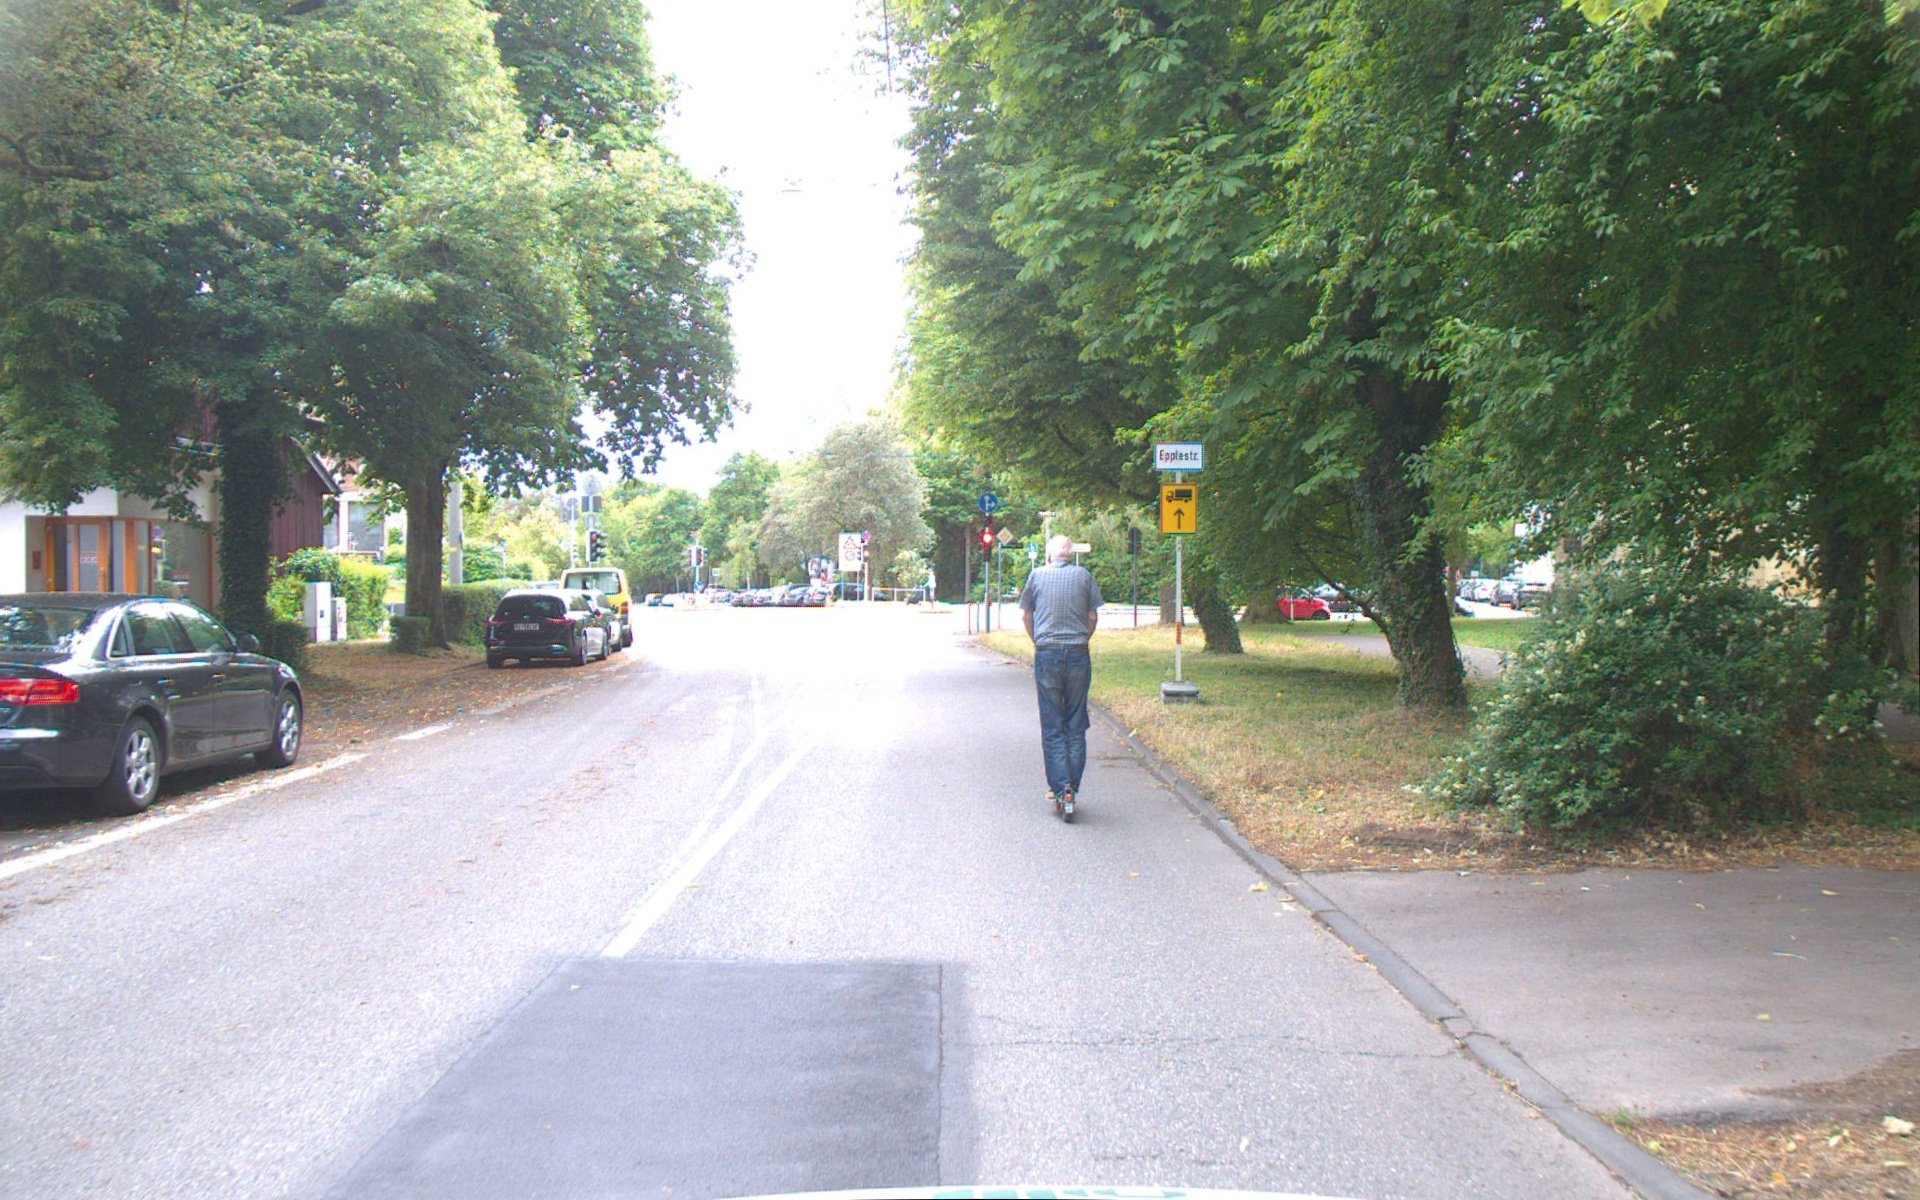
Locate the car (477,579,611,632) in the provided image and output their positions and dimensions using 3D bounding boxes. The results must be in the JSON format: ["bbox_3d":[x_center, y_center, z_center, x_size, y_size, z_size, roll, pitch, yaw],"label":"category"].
[{"bbox_3d":[-12.843,0.146,51.263,3.915,1.536,1.796,0,2,-11],"label":"car"}]

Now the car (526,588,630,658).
[{"bbox_3d":[-8.627,0.478,37.621,1.759,1.440,4.184,-1,1,-6],"label":"car"}]

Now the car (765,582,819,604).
[{"bbox_3d":[-12.597,-0.523,124.008,3.912,1.536,1.797,-1,1,-8],"label":"car"}]

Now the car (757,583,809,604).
[{"bbox_3d":[-13.473,-0.523,125.832,3.912,1.536,1.797,-1,1,-8],"label":"car"}]

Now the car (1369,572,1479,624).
[{"bbox_3d":[17.731,-0.093,63.178,3.905,1.756,1.801,2,4,20],"label":"car"}]

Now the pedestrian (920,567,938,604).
[{"bbox_3d":[-1.531,-0.717,80.890,0.716,1.792,0.662,-1,0,14],"label":"pedestrian"}]

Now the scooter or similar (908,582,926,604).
[{"bbox_3d":[-2.098,-0.362,81.159,0.695,1.067,0.788,-1,0,14],"label":"scooter or similar"}]

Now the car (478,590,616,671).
[{"bbox_3d":[-8.012,0.551,32.464,1.855,1.435,4.550,-1,0,-4],"label":"car"}]

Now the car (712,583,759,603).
[{"bbox_3d":[-18.962,-0.596,139.776,3.912,1.536,1.797,-1,1,-8],"label":"car"}]

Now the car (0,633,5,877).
[{"bbox_3d":[-5.504,0.741,6.537,1.633,1.416,3.701,-1,1,-7],"label":"car"}]

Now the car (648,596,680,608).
[{"bbox_3d":[-37.886,0.246,211.611,3.912,1.536,1.797,-1,1,-8],"label":"car"}]

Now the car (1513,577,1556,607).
[{"bbox_3d":[30.379,-0.425,87.552,2.039,1.536,4.002,-1,0,18],"label":"car"}]

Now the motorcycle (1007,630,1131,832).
[{"bbox_3d":[0.714,0.850,11.177,0.659,1.239,1.273,1,0,-4],"label":"motorcycle"}]

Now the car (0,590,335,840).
[{"bbox_3d":[-6.185,0.672,12.037,1.759,1.435,4.641,-1,1,-4],"label":"car"}]

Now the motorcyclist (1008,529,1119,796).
[{"bbox_3d":[0.707,0.419,11.461,0.659,1.792,0.638,1,0,-4],"label":"motorcyclist"}]

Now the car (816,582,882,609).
[{"bbox_3d":[-6.708,-0.292,99.771,3.912,1.536,1.797,-1,1,-8],"label":"car"}]

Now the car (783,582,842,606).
[{"bbox_3d":[-10.123,-0.420,113.480,3.912,1.536,1.797,-1,1,-8],"label":"car"}]

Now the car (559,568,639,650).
[{"bbox_3d":[-9.381,0.220,43.213,1.824,1.998,4.493,-1,0,-10],"label":"car"}]

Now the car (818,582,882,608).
[{"bbox_3d":[-6.881,-0.347,103.345,3.912,1.536,1.797,-1,1,-8],"label":"car"}]

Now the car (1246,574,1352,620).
[{"bbox_3d":[13.149,-0.144,64.276,3.902,1.584,1.802,1,4,8],"label":"car"}]

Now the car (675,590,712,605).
[{"bbox_3d":[-28.725,-0.309,178.335,3.912,1.536,1.797,-1,1,-8],"label":"car"}]
